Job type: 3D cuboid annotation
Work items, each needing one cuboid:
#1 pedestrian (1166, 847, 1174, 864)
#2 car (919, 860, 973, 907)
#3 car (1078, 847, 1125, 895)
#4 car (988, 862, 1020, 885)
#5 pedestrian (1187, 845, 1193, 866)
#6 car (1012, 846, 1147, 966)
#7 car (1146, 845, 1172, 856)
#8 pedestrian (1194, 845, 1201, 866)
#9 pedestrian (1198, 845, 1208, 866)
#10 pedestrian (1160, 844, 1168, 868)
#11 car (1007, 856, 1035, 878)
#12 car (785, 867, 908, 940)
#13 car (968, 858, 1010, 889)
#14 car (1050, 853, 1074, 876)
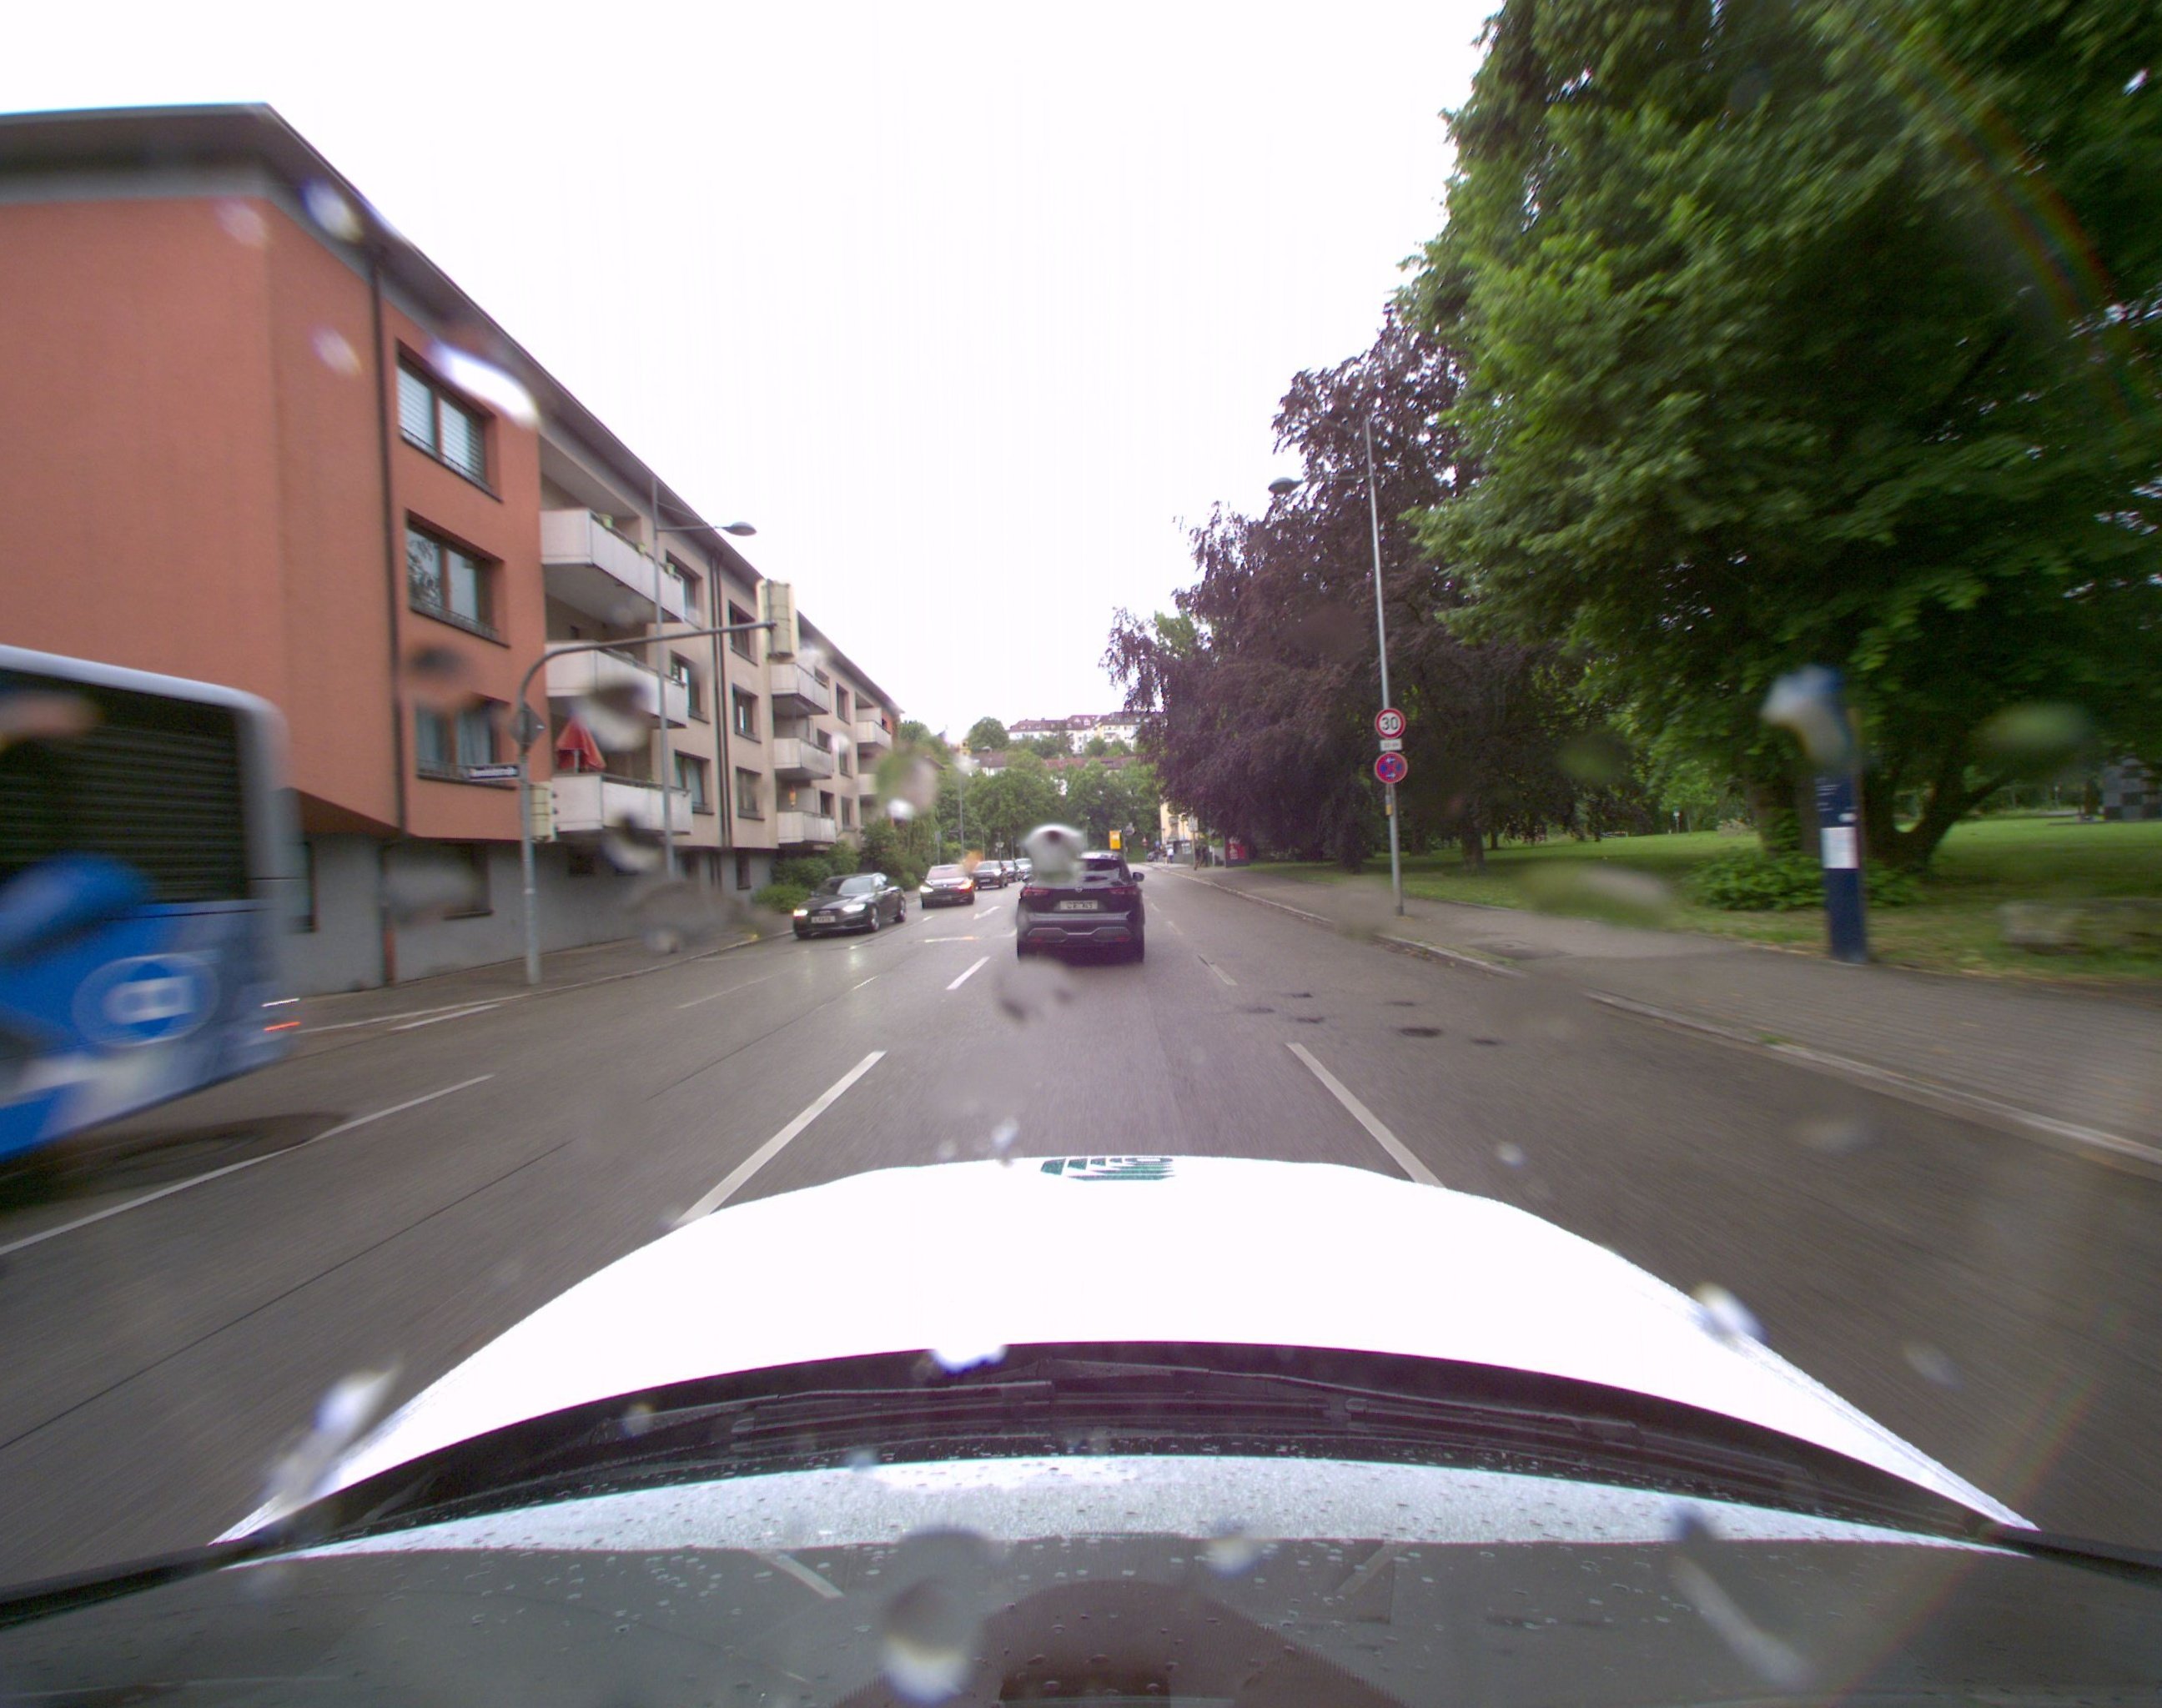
[{"bbox_3d":[9.378,0.169,85.695,0.616,1.779,0.778,-4,0,1],"label":"pedestrian"},{"bbox_3d":[-4.927,1.045,30.083,1.746,1.469,4.205,-4,0,-8],"label":"car"},{"bbox_3d":[0.865,0.638,32.335,1.615,1.709,3.773,-4,0,3],"label":"car"},{"bbox_3d":[-5.059,1.274,54.142,1.671,1.296,3.751,-5,0,0],"label":"car"},{"bbox_3d":[8.599,0.118,64.222,0.472,1.651,0.491,-1,-1,11],"label":"pedestrian"},{"bbox_3d":[0.029,0.721,12.919,1.800,1.590,4.001,-1,-1,1],"label":"car"},{"bbox_3d":[13.485,-0.543,141.320,3.986,1.684,1.994,-4,0,-9],"label":"car"},{"bbox_3d":[9.171,0.110,64.171,0.541,1.651,0.491,-1,-1,11],"label":"pedestrian"},{"bbox_3d":[9.715,0.110,64.699,0.695,1.651,0.630,-1,-1,11],"label":"pedestrian"},{"bbox_3d":[7.693,0.155,75.444,0.765,2.184,0.712,-1,-1,4],"label":"pedestrian"},{"bbox_3d":[-4.793,1.035,65.762,1.744,1.633,3.636,-4,0,2],"label":"car"},{"bbox_3d":[-5.798,1.156,20.659,1.770,1.469,4.216,-5,0,0],"label":"car"},{"bbox_3d":[-4.924,1.025,43.917,1.671,1.469,4.216,-5,0,0],"label":"car"},{"bbox_3d":[-1.639,0.876,70.214,1.757,1.758,3.636,-4,0,2],"label":"car"}]
